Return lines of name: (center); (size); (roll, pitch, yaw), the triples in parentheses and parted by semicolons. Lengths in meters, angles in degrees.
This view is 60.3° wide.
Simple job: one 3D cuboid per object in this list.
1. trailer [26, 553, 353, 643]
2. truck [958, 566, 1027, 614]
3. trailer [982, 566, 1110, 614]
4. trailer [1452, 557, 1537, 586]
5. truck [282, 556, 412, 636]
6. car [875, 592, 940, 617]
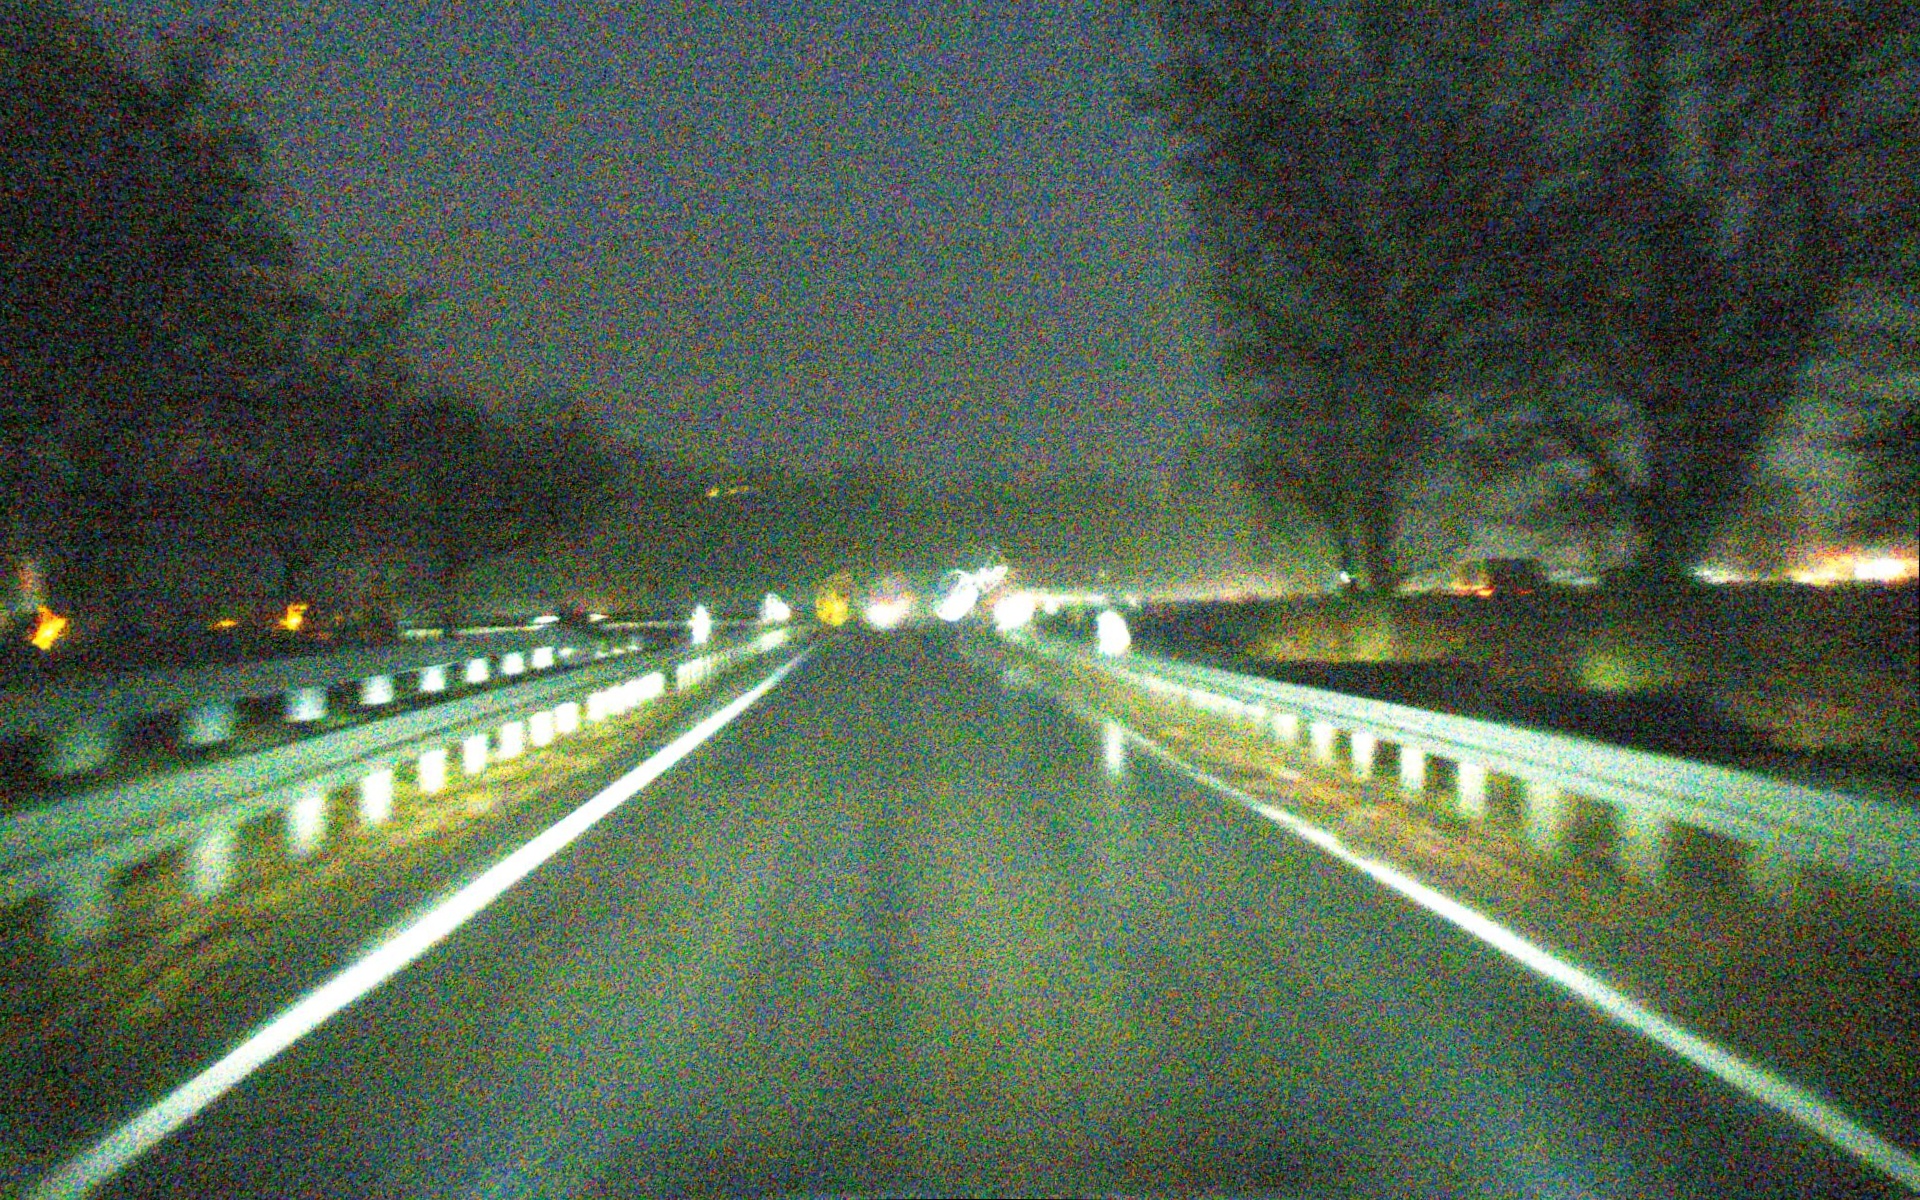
trailer: (-34.837, -0.175, 75.593); (13.547, 3.790, 2.558); (-1, 1, -44)
truck: (2.797, -0.902, 142.392); (5.705, 4.099, 2.734); (-1, 1, -44)
trailer: (7.835, -0.977, 147.372); (13.909, 4.099, 2.734); (-1, 1, -45)
trailer: (52.266, -2.798, 161.484); (2.650, 2.746, 12.770); (1, 1, 44)
truck: (-29.812, -0.236, 80.497); (5.416, 3.776, 2.555); (-1, 1, -44)
car: (-3.425, 0.277, 107.775); (3.969, 1.545, 1.968); (0, 1, -44)
